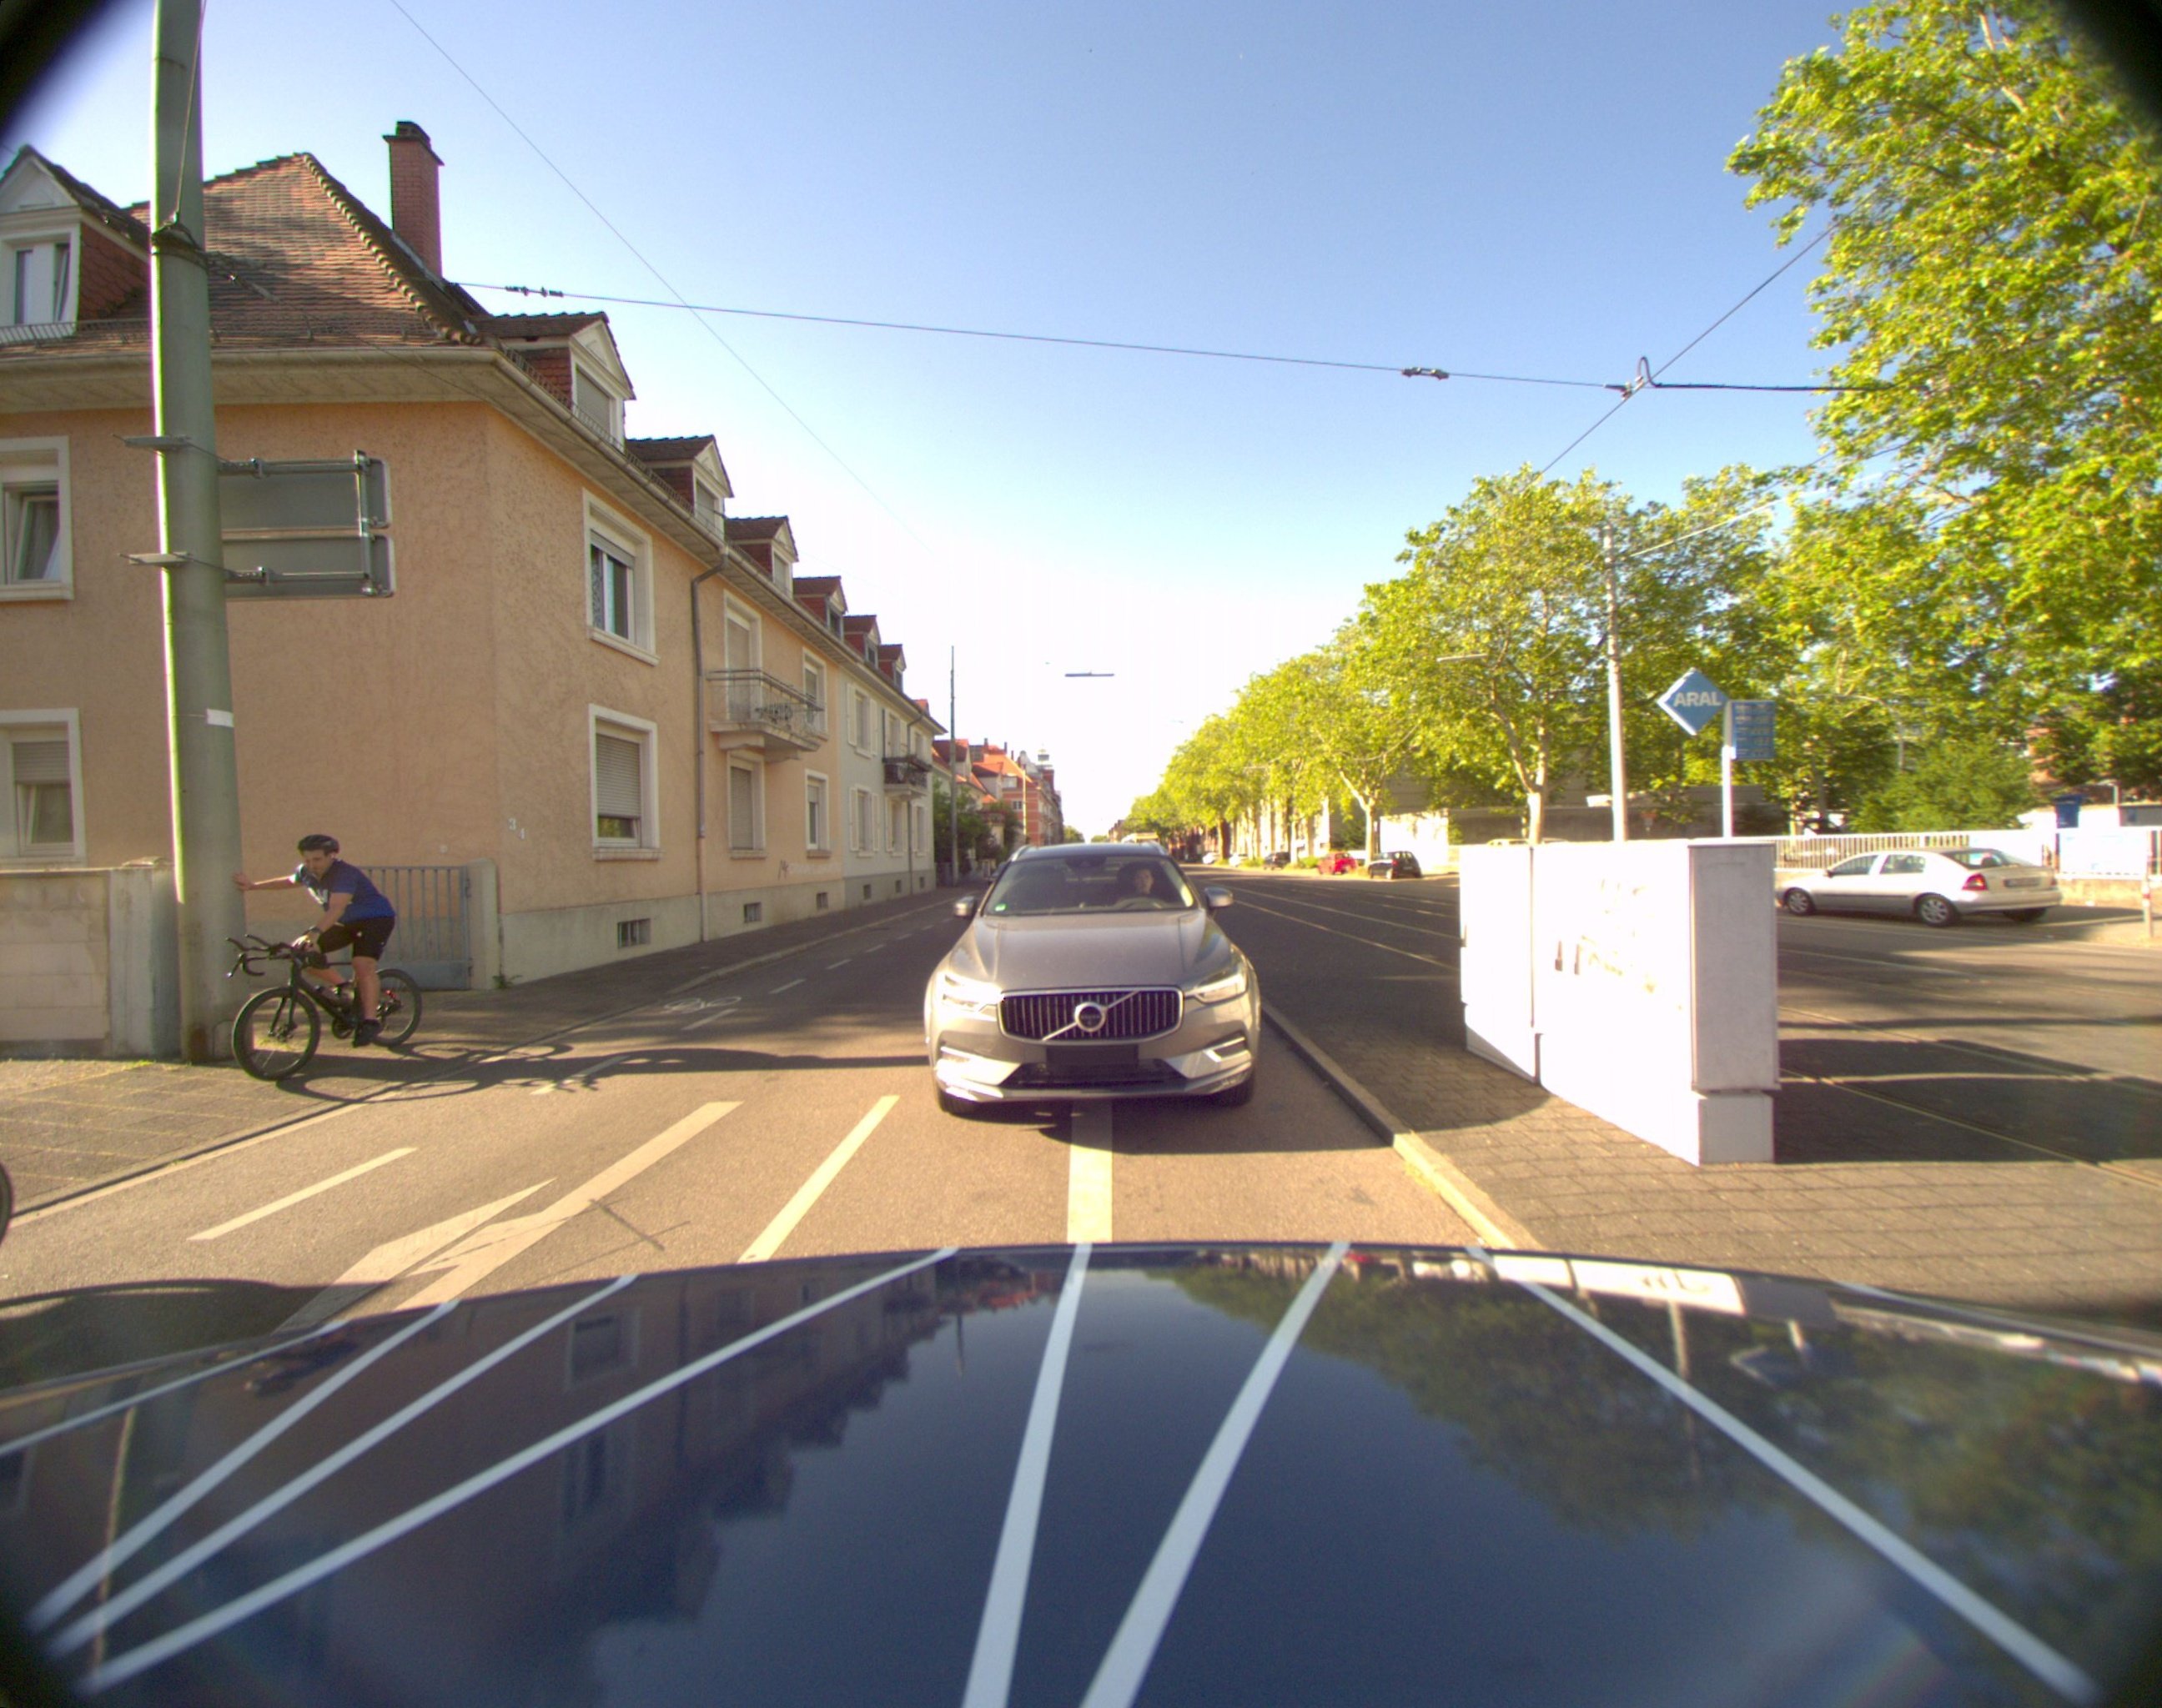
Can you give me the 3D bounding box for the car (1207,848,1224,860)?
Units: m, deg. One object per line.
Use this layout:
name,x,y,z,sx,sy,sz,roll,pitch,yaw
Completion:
car,17.812,0.027,100.724,1.695,1.440,3.749,-3,0,1

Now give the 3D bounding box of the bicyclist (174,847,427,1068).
bicyclist,-6.233,0.776,6.139,1.051,1.599,0.885,4,0,1

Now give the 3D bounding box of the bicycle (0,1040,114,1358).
bicycle,-4.229,1.271,2.187,0.519,1.084,1.797,-1,-2,4

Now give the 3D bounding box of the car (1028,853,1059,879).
car,-2.619,0.837,54.018,1.793,1.673,3.814,-3,0,2

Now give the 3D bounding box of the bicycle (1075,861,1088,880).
bicycle,0.043,1.010,46.393,0.685,1.098,1.806,-2,1,1

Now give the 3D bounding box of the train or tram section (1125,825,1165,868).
train or tram section,5.894,-0.670,71.940,2.717,3.643,12.653,-1,0,0

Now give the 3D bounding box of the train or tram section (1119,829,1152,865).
train or tram section,5.967,-0.768,84.549,2.717,3.643,12.653,-1,0,0

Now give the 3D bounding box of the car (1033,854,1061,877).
car,-2.706,0.887,61.043,1.793,1.673,3.814,-3,0,2

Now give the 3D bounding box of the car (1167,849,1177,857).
car,19.294,-0.194,161.887,1.695,1.440,3.749,-3,0,1

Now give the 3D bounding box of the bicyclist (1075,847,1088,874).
bicyclist,0.022,0.401,46.339,0.685,1.611,0.855,-2,1,1

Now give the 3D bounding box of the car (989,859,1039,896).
car,-3.211,1.086,37.059,1.695,1.571,3.815,-3,0,5

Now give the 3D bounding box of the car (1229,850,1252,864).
car,17.480,0.294,83.553,1.695,1.440,3.749,-3,0,1

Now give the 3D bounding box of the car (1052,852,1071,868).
car,-2.134,0.636,85.382,1.793,1.673,3.814,-3,0,2

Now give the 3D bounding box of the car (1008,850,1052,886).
car,-2.812,0.743,42.832,1.793,1.828,5.149,-3,0,2

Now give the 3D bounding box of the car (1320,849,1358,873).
car,16.890,0.437,49.877,1.599,1.498,2.622,-3,0,1

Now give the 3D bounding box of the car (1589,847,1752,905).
car,16.421,0.563,21.427,1.695,1.395,3.749,-3,0,1

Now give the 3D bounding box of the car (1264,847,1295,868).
car,17.152,0.275,65.899,1.695,1.648,3.749,-3,0,1

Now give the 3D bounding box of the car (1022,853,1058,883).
car,-2.572,0.855,48.497,1.793,1.673,3.814,-3,0,2

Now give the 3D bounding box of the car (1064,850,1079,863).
car,-1.274,0.365,107.115,1.793,1.673,3.814,-3,0,2

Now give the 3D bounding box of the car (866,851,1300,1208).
car,0.038,0.829,5.765,1.998,1.628,4.306,-2,0,1

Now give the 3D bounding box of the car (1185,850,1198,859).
car,18.221,0.072,125.533,1.695,1.440,3.749,-3,0,1

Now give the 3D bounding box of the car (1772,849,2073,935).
car,16.234,0.643,14.992,1.695,1.395,3.813,-3,0,1

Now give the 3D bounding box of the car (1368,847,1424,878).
car,16.897,0.429,40.906,1.599,1.498,3.304,-3,0,1

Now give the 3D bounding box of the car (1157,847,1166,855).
car,20.270,-0.728,191.424,1.695,1.775,3.749,-3,0,1

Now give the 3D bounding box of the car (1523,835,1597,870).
car,23.891,-0.079,38.035,1.599,1.583,3.304,-2,0,1

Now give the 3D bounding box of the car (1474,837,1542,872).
car,21.558,0.016,38.483,1.599,1.606,3.304,-2,0,1

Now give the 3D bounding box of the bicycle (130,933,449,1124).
bicycle,-6.040,1.262,5.976,0.592,1.062,1.775,4,0,1

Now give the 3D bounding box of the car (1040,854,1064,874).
car,-2.537,0.861,67.087,1.793,1.673,3.814,-3,0,2
